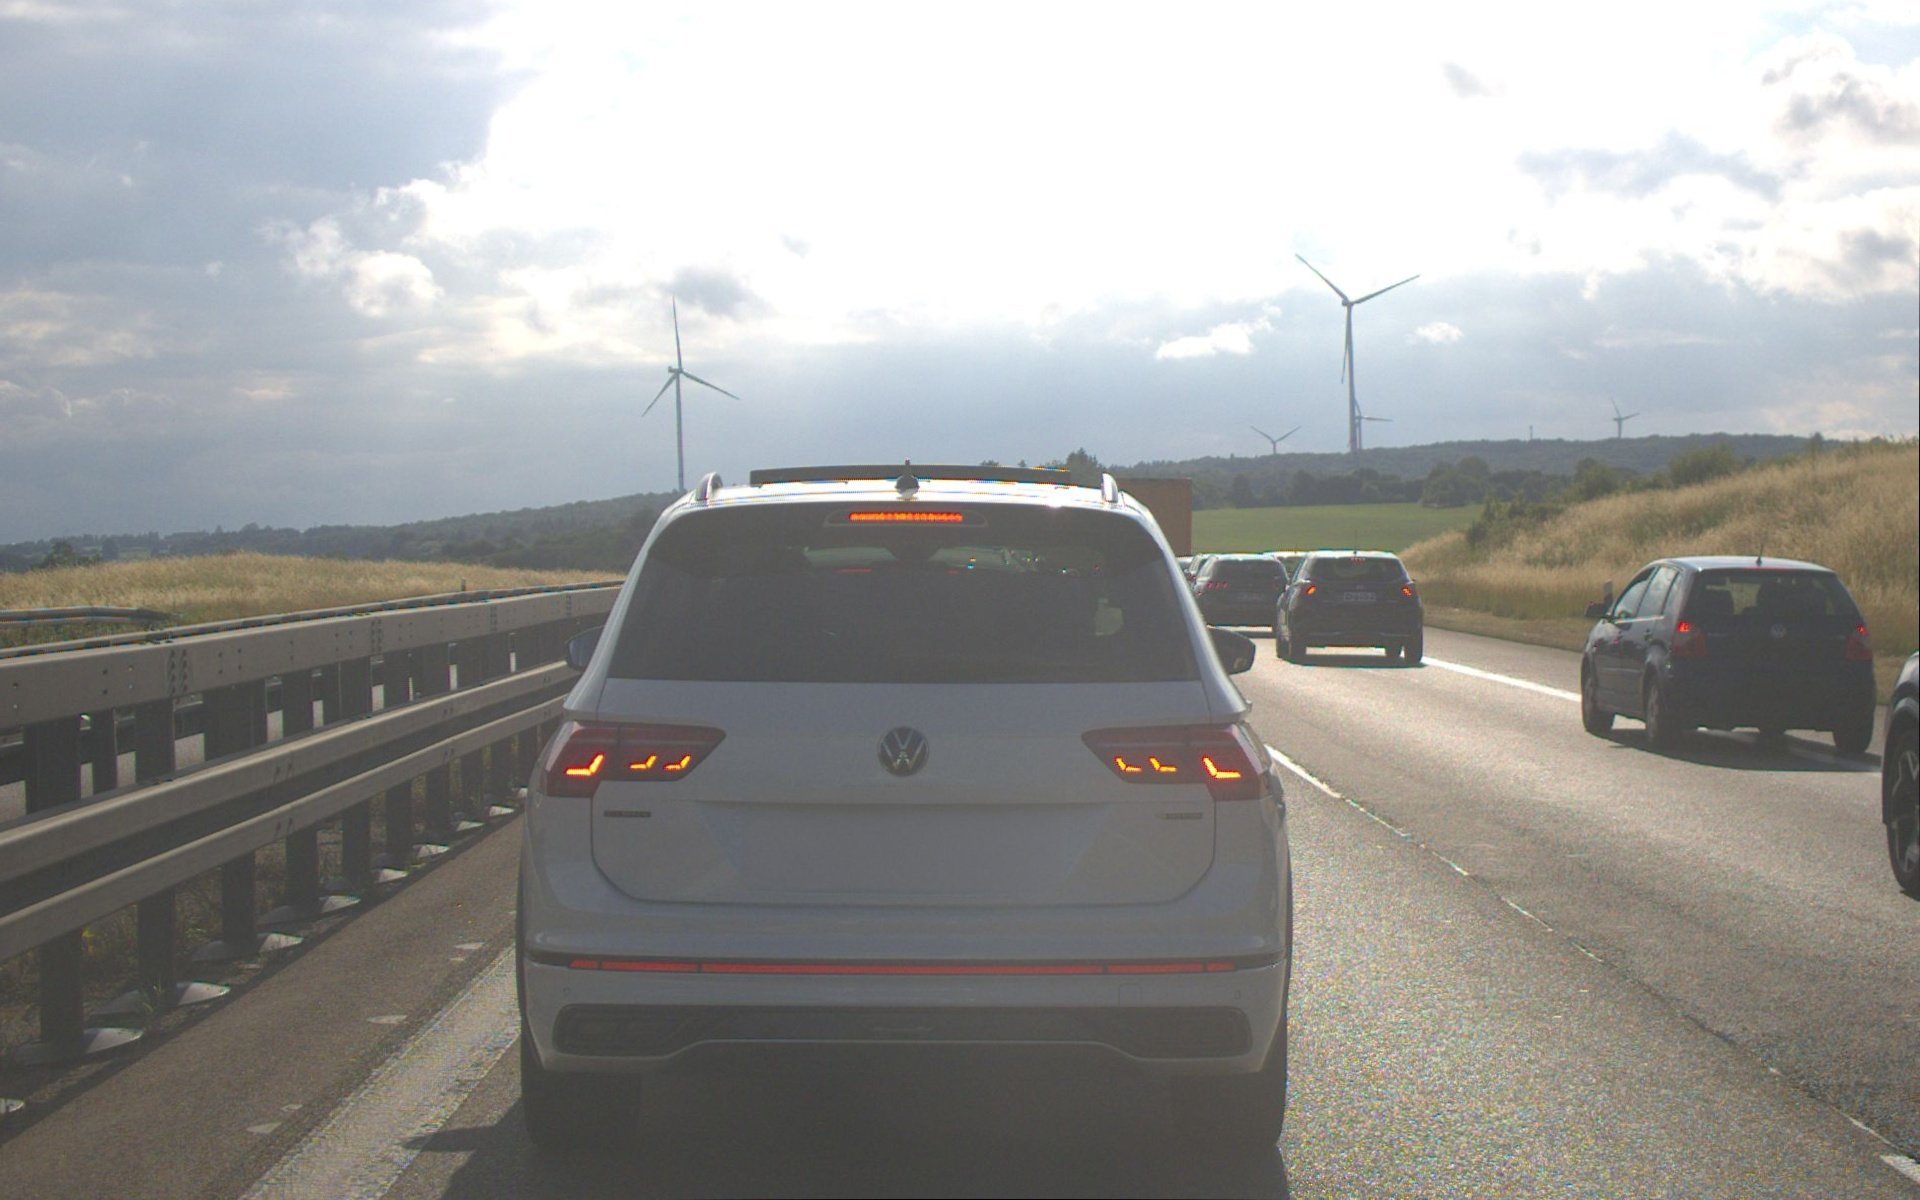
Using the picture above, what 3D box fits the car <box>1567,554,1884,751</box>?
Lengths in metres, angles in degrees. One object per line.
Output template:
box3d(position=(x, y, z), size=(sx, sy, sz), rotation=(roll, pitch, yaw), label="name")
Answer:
box3d(position=(5.819, 0.354, 26.523), size=(1.605, 1.415, 3.672), rotation=(0, 1, 0), label="car")

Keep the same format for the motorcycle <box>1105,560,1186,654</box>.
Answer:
box3d(position=(2.404, 0.077, 44.844), size=(0.895, 1.186, 2.257), rotation=(0, 1, -1), label="motorcycle")

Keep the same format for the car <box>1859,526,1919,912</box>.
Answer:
box3d(position=(4.909, 0.529, 13.003), size=(1.821, 1.596, 4.235), rotation=(2, 1, -1), label="car")

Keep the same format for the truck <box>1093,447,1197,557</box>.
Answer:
box3d(position=(6.229, -3.321, 117.227), size=(3.184, 3.581, 11.130), rotation=(0, 1, 1), label="truck")

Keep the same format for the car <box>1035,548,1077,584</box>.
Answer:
box3d(position=(4.184, -1.505, 150.077), size=(1.704, 1.540, 4.000), rotation=(0, 1, -1), label="car")

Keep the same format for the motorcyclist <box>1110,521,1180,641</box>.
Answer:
box3d(position=(2.407, -0.248, 44.796), size=(0.849, 1.554, 0.934), rotation=(0, 1, -1), label="motorcyclist")

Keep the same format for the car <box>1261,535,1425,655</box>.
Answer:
box3d(position=(5.089, -0.088, 46.099), size=(1.704, 1.540, 4.000), rotation=(0, 1, -1), label="car")

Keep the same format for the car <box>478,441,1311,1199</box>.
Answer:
box3d(position=(-0.158, 0.475, 9.306), size=(1.770, 1.670, 4.000), rotation=(0, 1, -1), label="car")

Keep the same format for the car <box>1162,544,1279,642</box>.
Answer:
box3d(position=(4.528, -0.143, 60.168), size=(1.704, 1.644, 4.000), rotation=(0, 1, -1), label="car")

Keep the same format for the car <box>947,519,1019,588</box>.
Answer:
box3d(position=(0.545, -1.142, 84.537), size=(1.704, 1.644, 4.000), rotation=(0, 1, -1), label="car")

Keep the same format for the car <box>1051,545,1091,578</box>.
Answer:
box3d(position=(5.203, -1.817, 161.434), size=(1.704, 1.540, 4.000), rotation=(0, 1, -1), label="car")

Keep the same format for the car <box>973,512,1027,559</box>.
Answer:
box3d(position=(1.327, -2.128, 114.562), size=(1.704, 1.540, 4.000), rotation=(0, 1, -1), label="car")
